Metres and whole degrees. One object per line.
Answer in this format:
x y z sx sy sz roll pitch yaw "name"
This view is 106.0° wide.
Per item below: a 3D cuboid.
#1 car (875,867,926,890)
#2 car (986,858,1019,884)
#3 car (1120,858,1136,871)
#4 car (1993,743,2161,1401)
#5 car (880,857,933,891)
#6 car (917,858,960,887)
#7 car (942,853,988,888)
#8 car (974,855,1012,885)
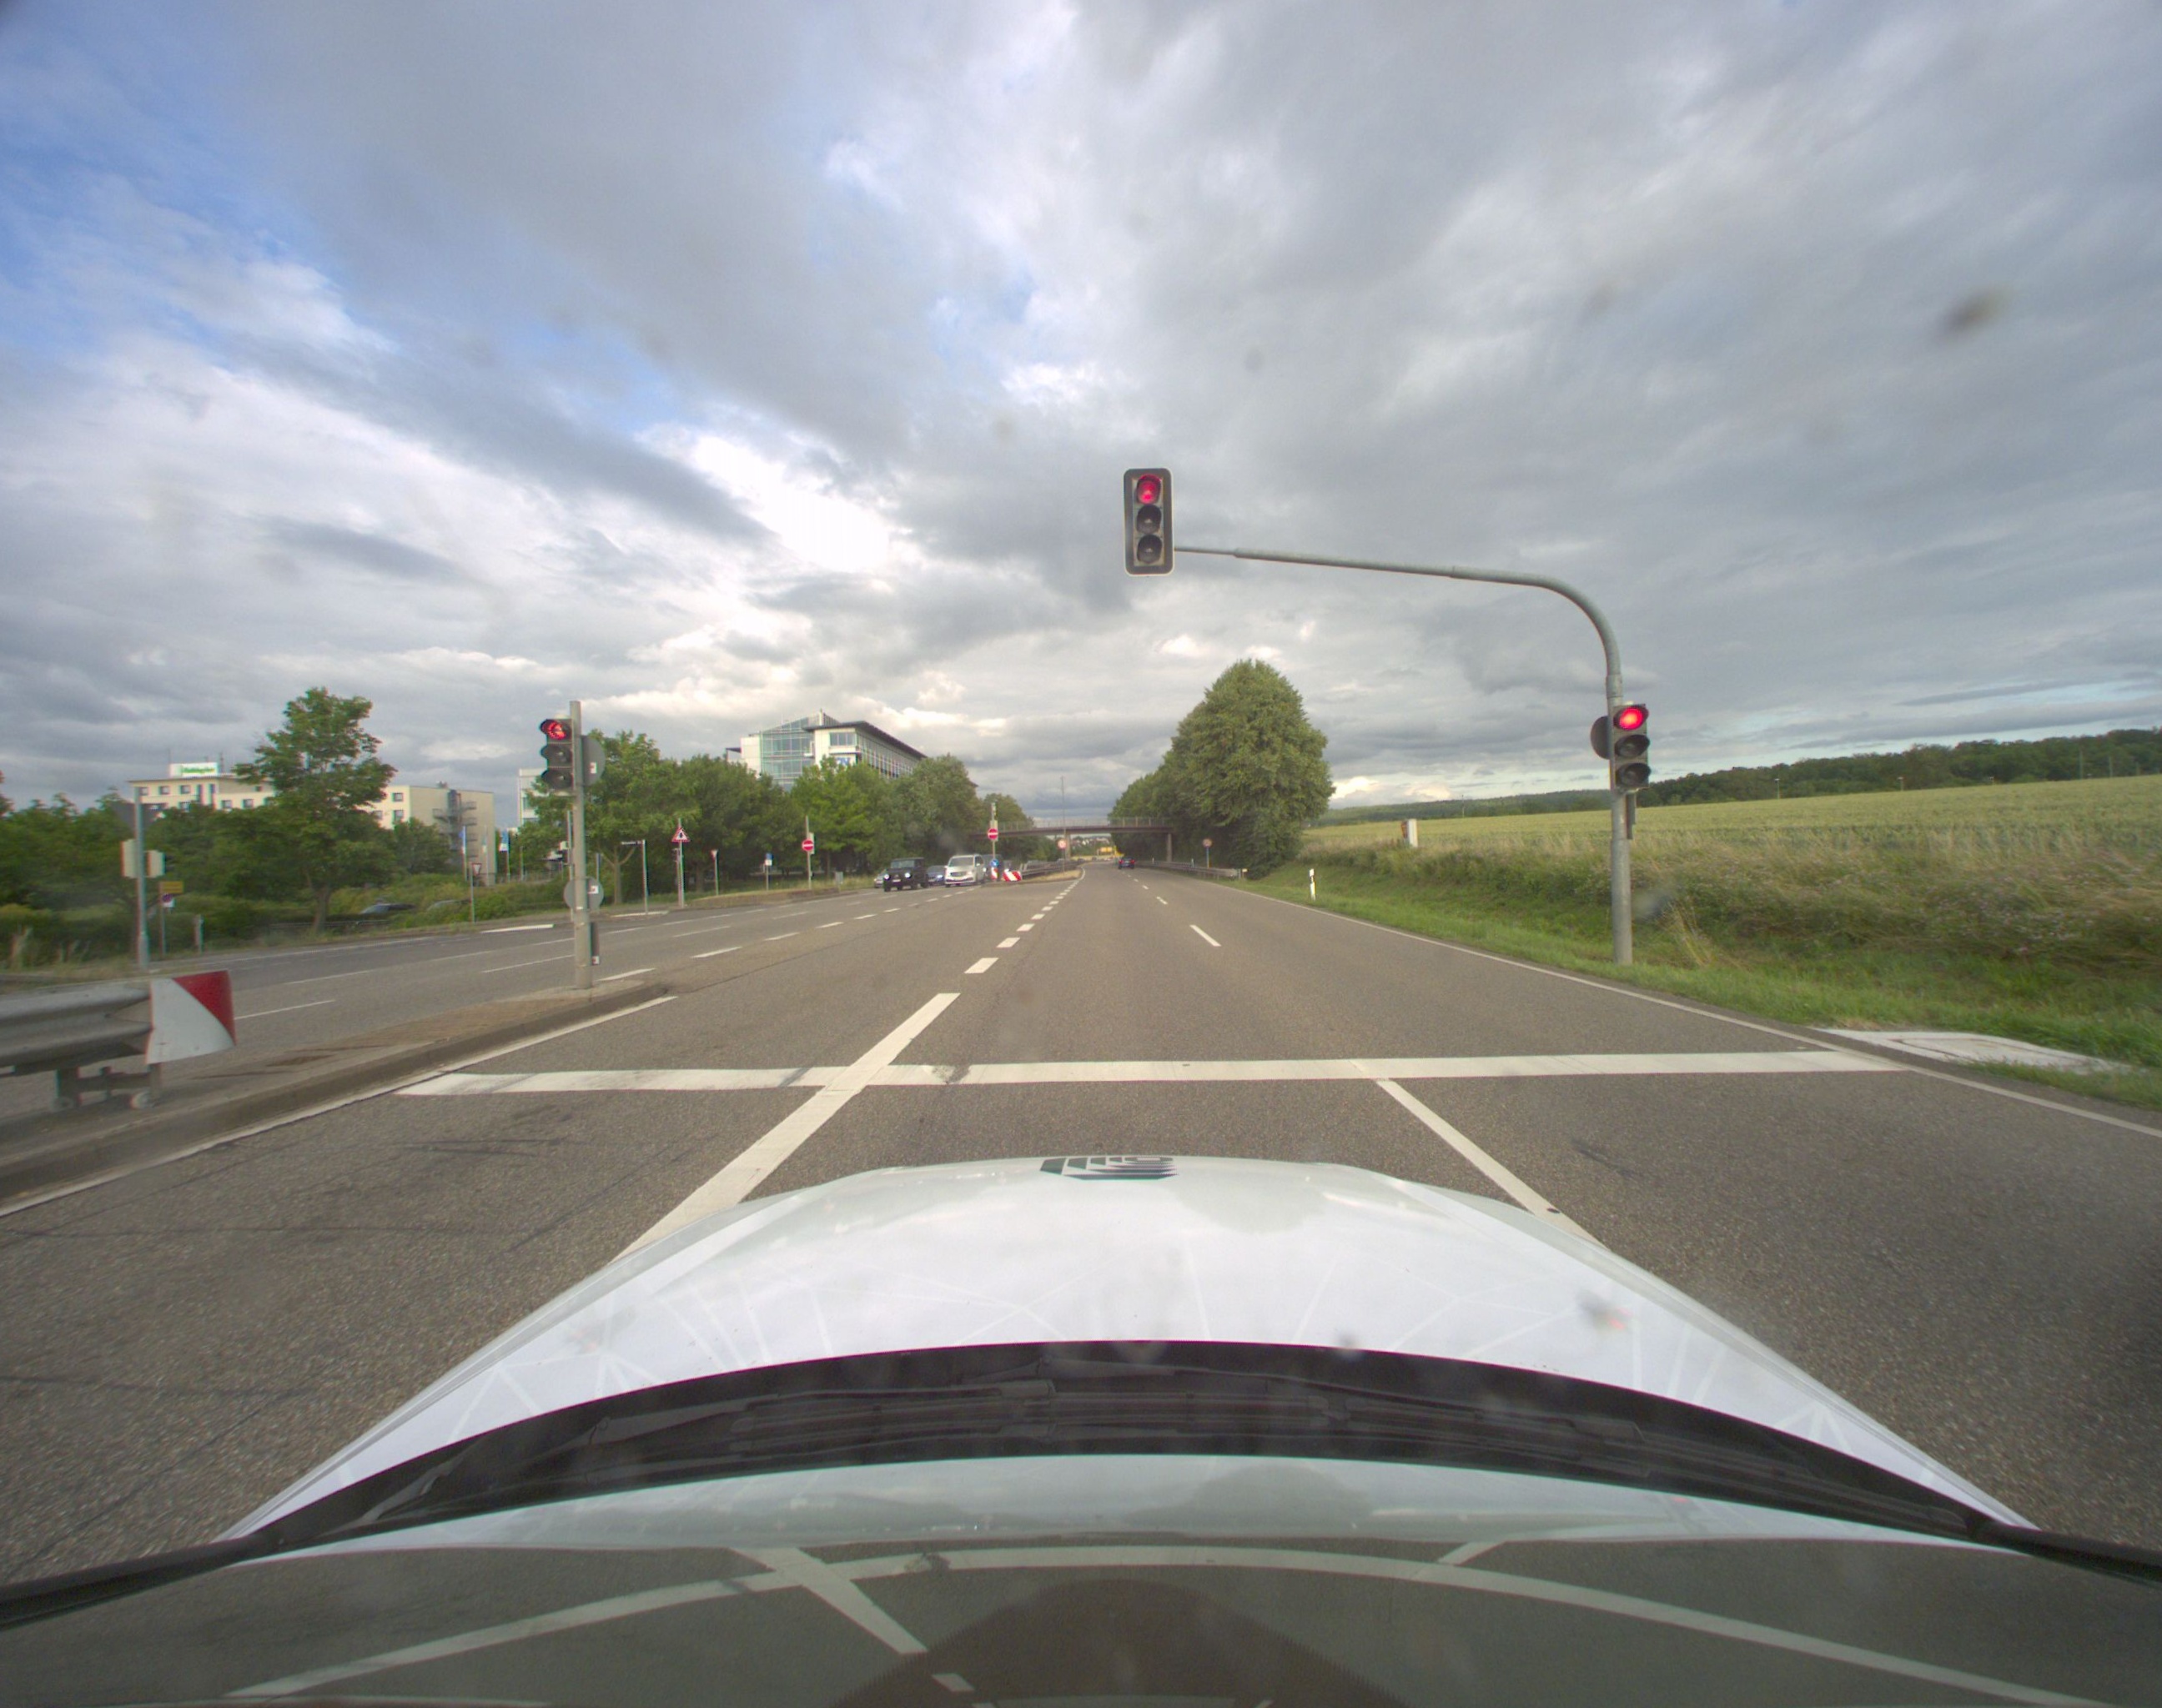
-13.381 1.809 60.483 1.567 1.342 3.773 -5 0 26 "car"
-6.303 1.341 65.808 2.076 2.014 5.216 0 -1 0 "car"
5.705 1.278 99.506 1.872 1.552 4.002 0 -1 2 "car"
3.657 0.545 0.207 1.829 1.708 4.558 0 -1 2 "car"
-10.741 1.215 50.487 2.076 2.014 5.216 0 -1 0 "car"
-10.053 1.283 57.977 2.076 2.014 5.216 0 -1 0 "car"
-7.121 0.991 50.518 2.076 2.014 5.216 0 -1 0 "car"
-6.212 1.102 58.237 2.076 2.014 5.216 0 -1 0 "car"
